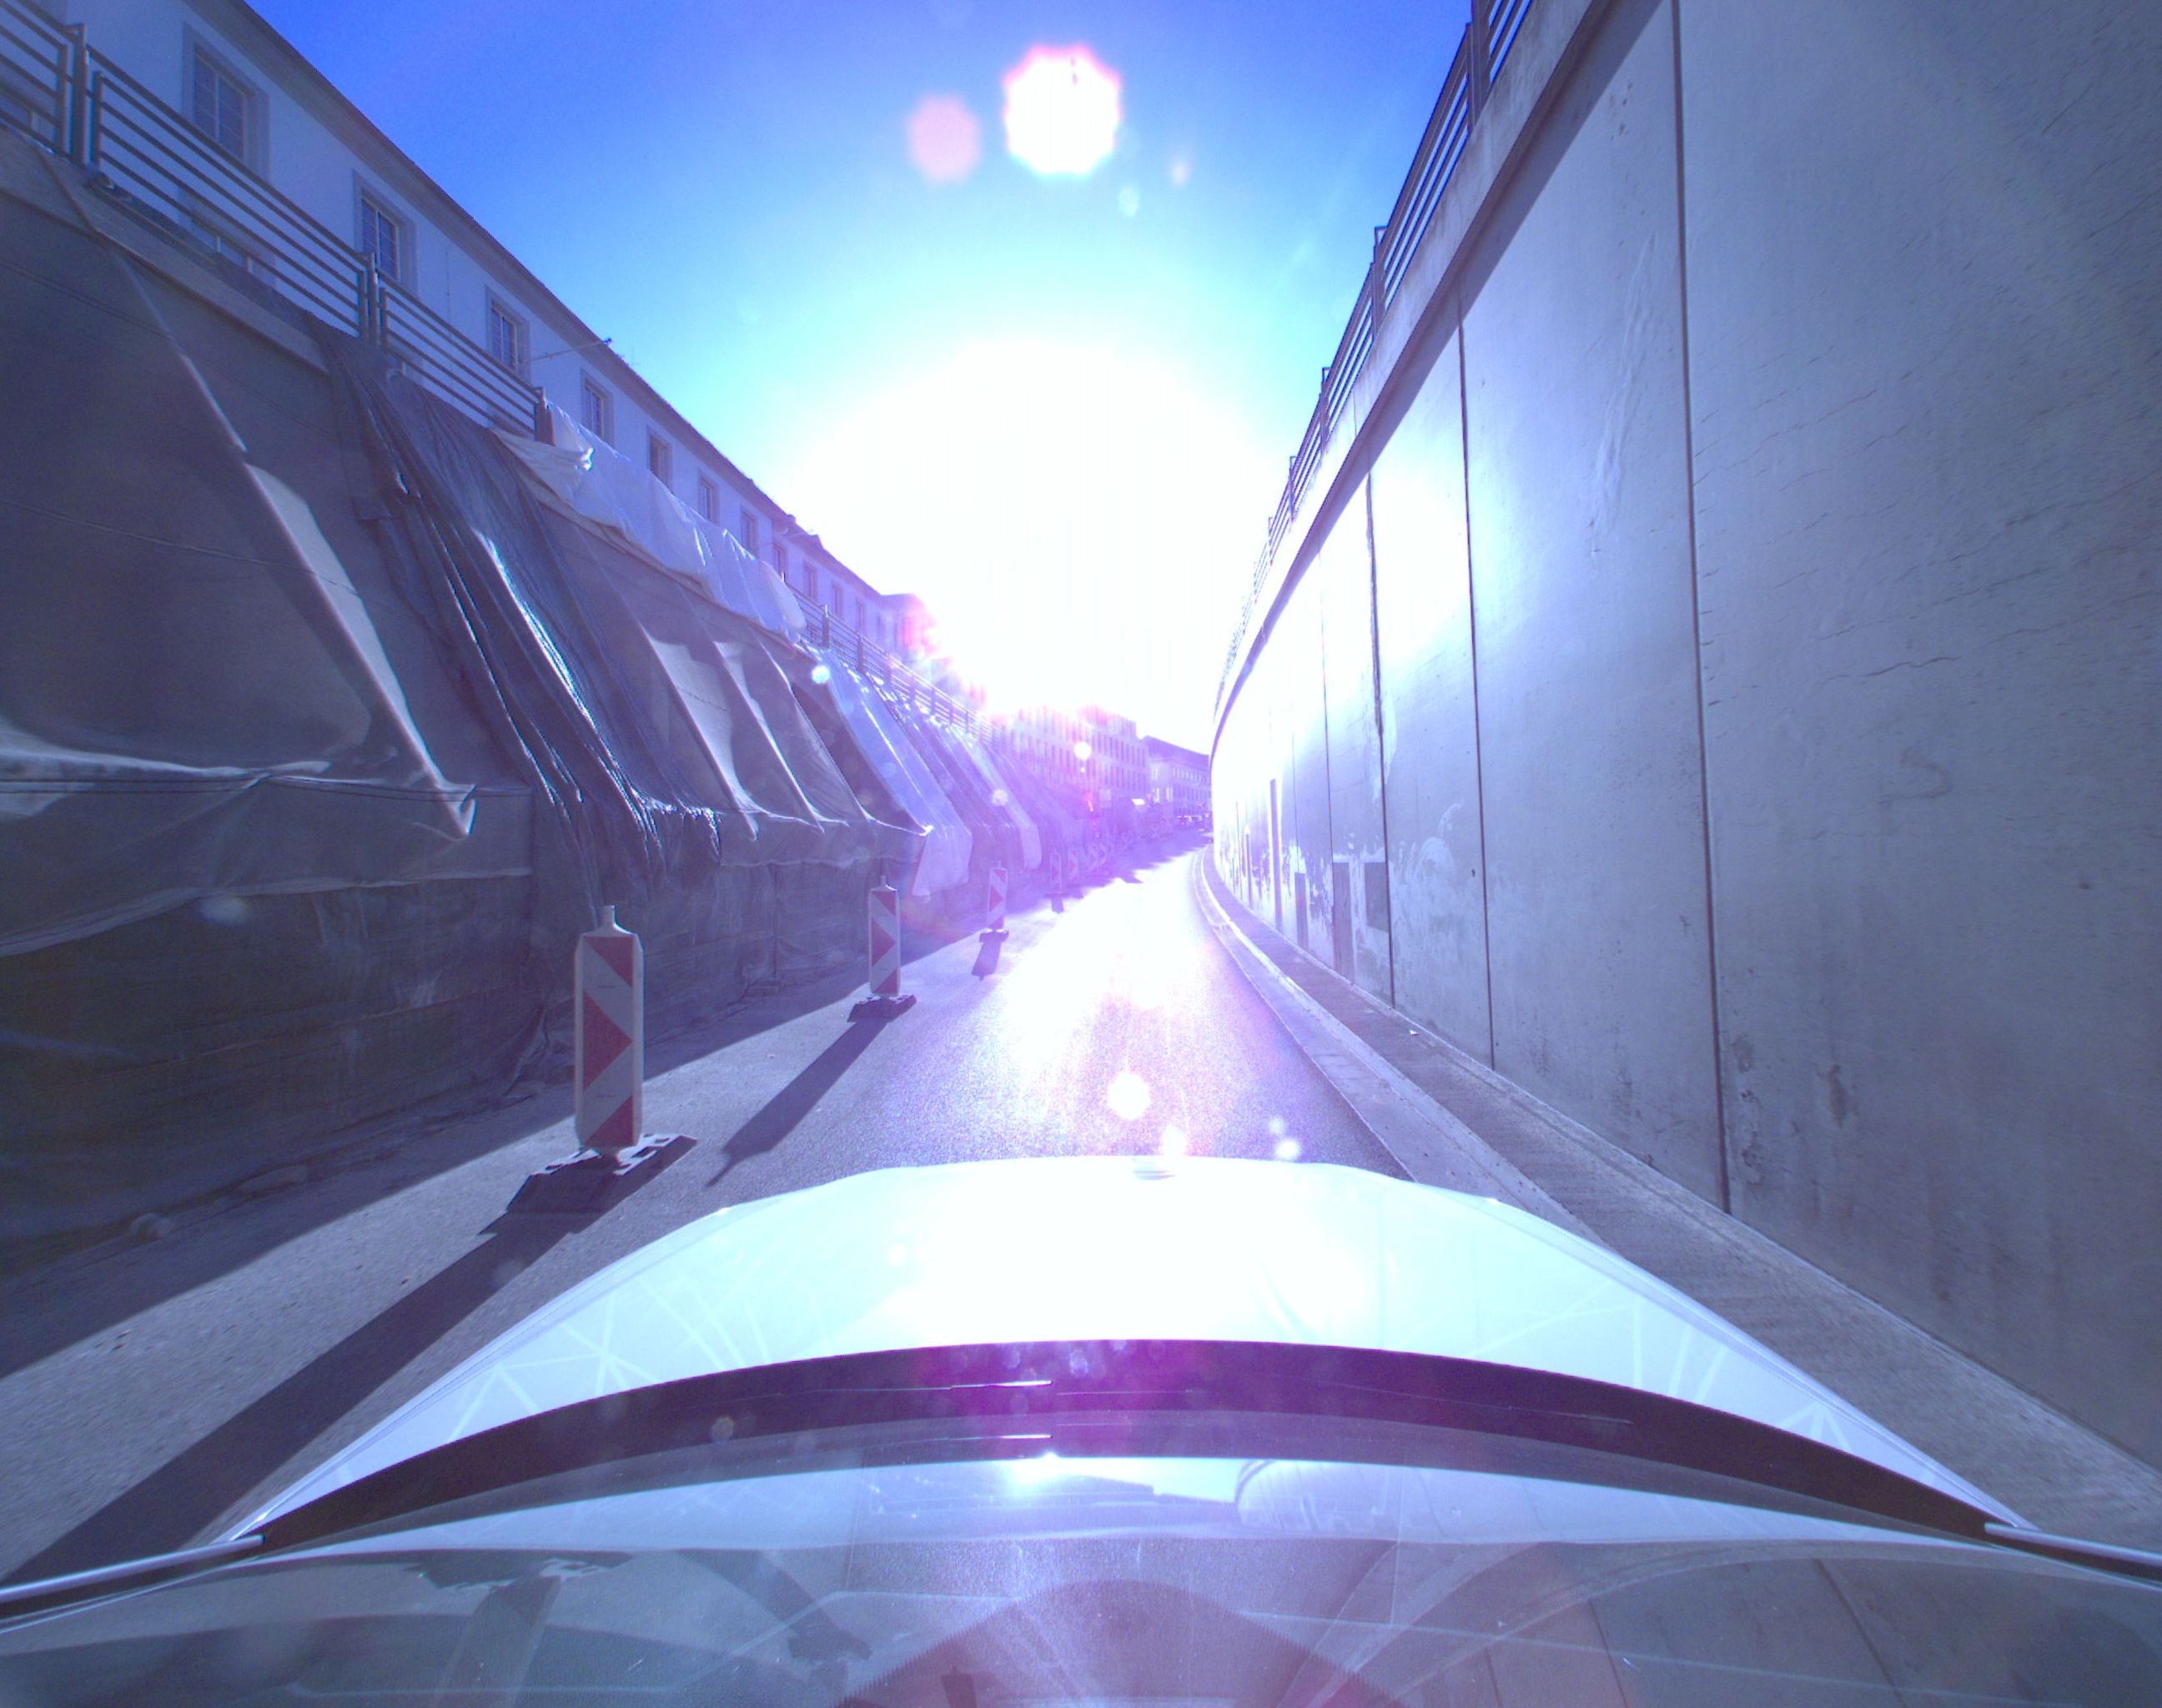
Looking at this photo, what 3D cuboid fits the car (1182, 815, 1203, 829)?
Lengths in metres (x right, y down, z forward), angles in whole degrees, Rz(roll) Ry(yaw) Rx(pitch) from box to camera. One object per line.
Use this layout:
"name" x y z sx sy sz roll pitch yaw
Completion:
"car" 12.846 -3.641 93.779 1.806 1.533 4.019 0 2 17

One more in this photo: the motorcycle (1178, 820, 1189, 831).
"motorcycle" 10.205 -2.795 80.961 0.765 0.992 2.192 -1 -1 14

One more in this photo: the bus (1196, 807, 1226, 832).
"bus" 13.502 -3.588 84.234 2.206 2.556 4.450 0 2 19

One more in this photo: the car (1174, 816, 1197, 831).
"car" 11.281 -3.276 87.584 1.762 1.604 4.018 0 2 16

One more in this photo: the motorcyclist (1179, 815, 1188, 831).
"motorcyclist" 10.176 -3.050 80.877 0.798 1.504 0.780 -1 -1 14
